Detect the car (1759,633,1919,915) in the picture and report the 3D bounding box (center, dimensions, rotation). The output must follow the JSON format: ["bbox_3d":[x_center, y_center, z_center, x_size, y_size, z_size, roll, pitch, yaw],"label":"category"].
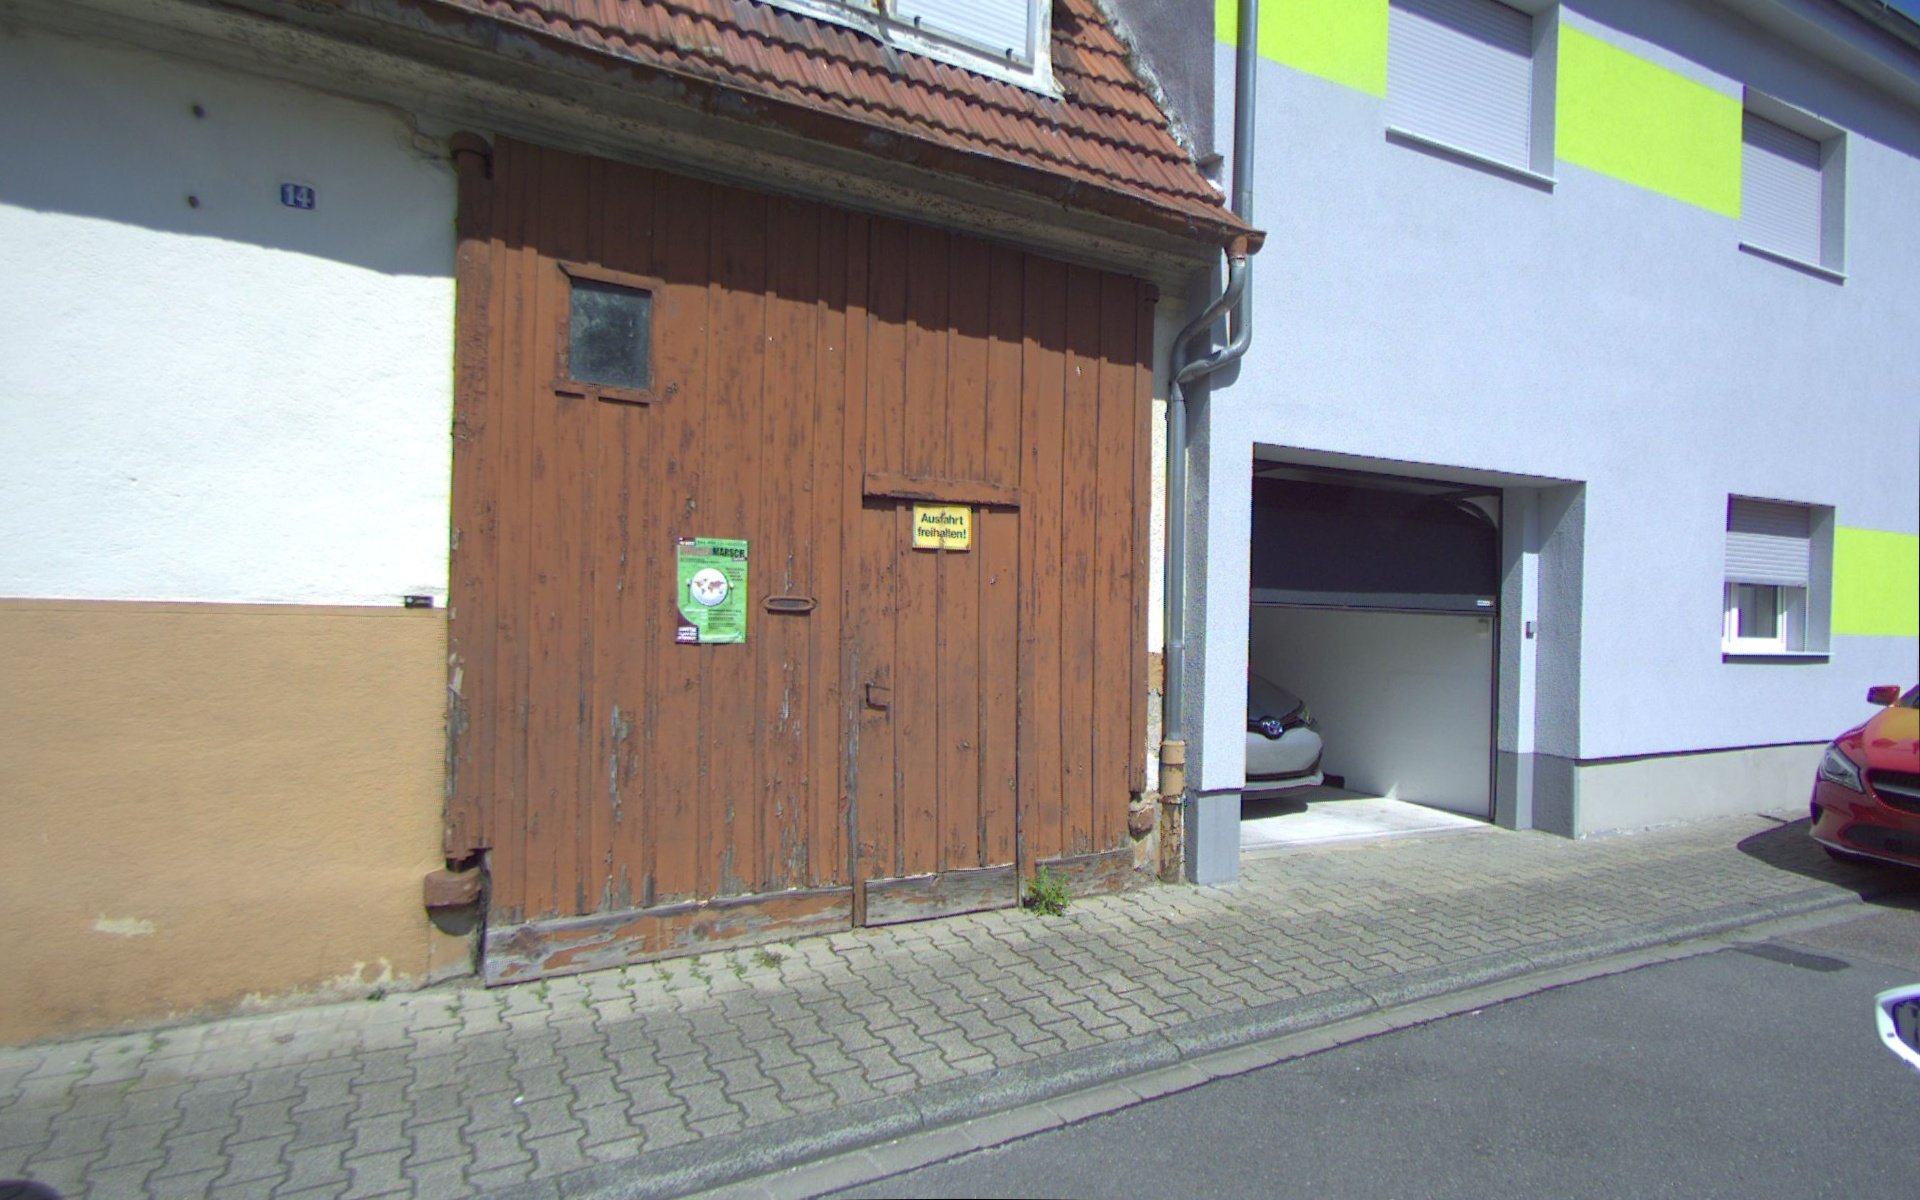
[{"bbox_3d":[7.054,0.988,6.228,4.434,1.460,1.792,2,-1,-30],"label":"car"}]

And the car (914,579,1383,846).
[{"bbox_3d":[1.256,0.724,8.377,1.809,1.639,3.973,2,-1,-26],"label":"car"}]

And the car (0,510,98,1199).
[{"bbox_3d":[-3.376,0.580,0.159,4.556,1.595,1.793,2,-1,-27],"label":"car"}]
